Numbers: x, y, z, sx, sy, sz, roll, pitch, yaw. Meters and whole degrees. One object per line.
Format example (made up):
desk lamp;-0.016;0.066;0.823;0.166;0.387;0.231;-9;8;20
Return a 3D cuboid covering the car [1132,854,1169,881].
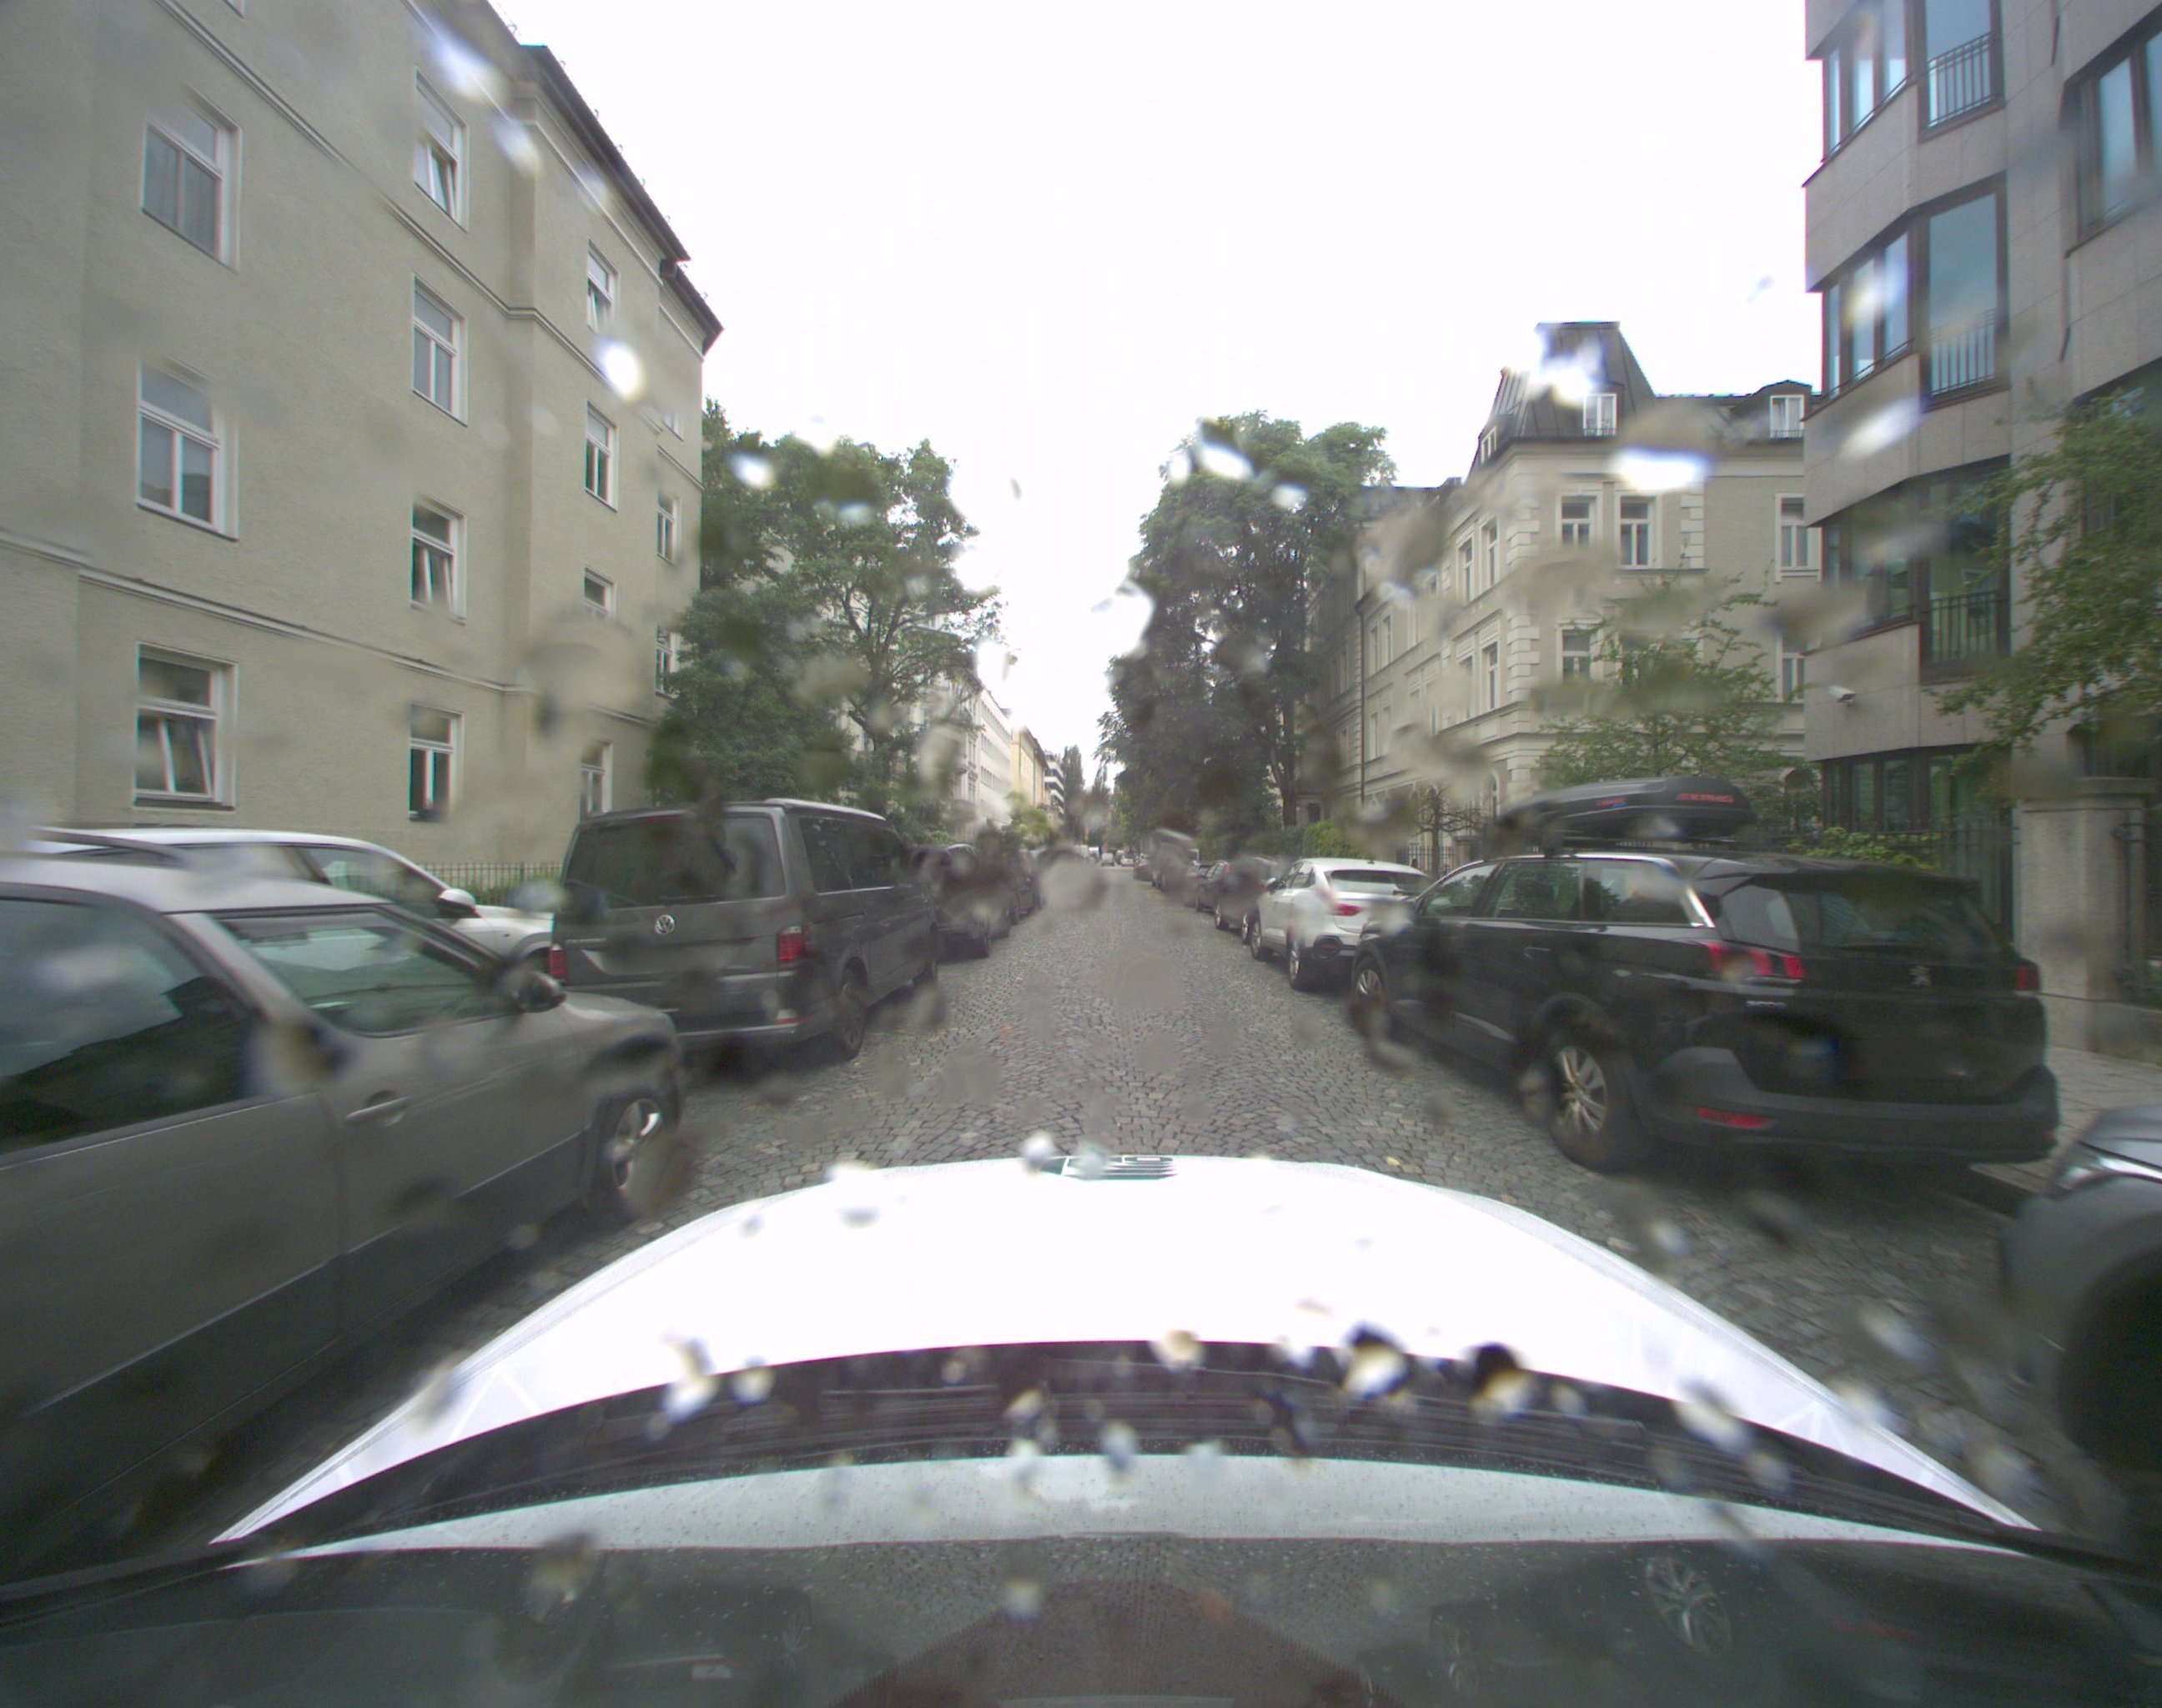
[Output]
car;4.254;0.804;50.607;1.867;1.503;4.510;3;0;0

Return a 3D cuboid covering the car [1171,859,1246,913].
car;3.943;0.937;25.786;1.707;1.472;4.269;3;0;1

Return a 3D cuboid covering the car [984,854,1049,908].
car;-1.843;0.760;24.360;1.657;1.444;4.169;-1;0;-1

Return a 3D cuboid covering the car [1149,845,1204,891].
car;4.402;0.629;38.367;1.867;1.928;5.163;3;0;0

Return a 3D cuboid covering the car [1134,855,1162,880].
car;5.082;0.988;62.314;1.866;1.733;4.595;3;0;2

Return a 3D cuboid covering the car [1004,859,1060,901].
car;-1.817;0.948;31.549;1.777;1.417;4.497;-3;0;1

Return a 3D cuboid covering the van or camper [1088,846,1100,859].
van or camper;2.833;-0.278;175.775;2.247;2.742;5.100;1;0;2

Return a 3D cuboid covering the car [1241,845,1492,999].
car;3.368;0.687;10.628;1.865;1.490;4.621;3;0;4

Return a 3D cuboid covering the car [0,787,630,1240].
car;-5.041;0.570;4.857;1.938;1.735;4.658;3;0;1

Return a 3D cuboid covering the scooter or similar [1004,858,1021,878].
scooter or similar;-5.128;1.018;60.927;0.937;1.442;2.657;0;0;2

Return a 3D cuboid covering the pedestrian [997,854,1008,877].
pedestrian;-5.943;0.878;61.464;0.715;1.687;0.695;0;-1;1

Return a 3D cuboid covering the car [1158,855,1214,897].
car;4.182;0.844;32.893;1.829;1.490;4.424;3;0;3

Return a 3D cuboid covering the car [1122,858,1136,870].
car;6.570;1.386;112.190;1.783;1.520;4.002;0;0;2

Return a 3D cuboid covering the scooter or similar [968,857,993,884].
scooter or similar;-5.418;0.873;44.211;0.938;1.441;2.656;2;0;1

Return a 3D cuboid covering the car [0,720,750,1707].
car;-2.817;0.667;2.409;1.860;1.735;4.402;-2;0;-1

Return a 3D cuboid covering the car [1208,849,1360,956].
car;3.712;0.812;15.787;1.866;1.670;4.659;3;0;2

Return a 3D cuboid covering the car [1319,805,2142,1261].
car;3.343;0.740;5.677;1.867;1.735;4.746;4;0;0

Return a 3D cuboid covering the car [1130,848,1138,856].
car;14.043;-0.410;214.991;1.986;2.014;4.002;1;-1;2

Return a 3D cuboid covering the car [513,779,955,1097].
car;-2.534;0.535;7.480;1.866;1.917;4.828;-2;0;1

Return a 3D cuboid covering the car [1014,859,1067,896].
car;-1.719;0.995;36.293;1.879;1.417;4.409;-3;0;3

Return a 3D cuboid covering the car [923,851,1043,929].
car;-2.148;0.752;19.325;1.970;1.561;5.021;-1;0;3

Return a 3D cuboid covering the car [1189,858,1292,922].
car;4.065;0.873;21.394;1.690;1.440;4.058;3;0;-2

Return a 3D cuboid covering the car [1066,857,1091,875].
car;-0.209;1.138;76.254;1.864;1.580;4.214;2;0;5

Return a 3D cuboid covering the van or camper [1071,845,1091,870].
van or camper;0.063;0.346;91.218;1.986;2.652;4.002;-2;-1;2

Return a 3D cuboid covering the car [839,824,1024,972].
car;-2.221;0.618;13.698;1.986;1.917;5.178;-3;0;1

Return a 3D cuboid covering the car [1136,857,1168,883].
car;4.828;1.062;55.809;1.811;1.580;4.209;4;0;1

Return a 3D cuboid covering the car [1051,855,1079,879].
car;-1.084;0.934;58.497;1.867;1.580;4.254;-2;0;0

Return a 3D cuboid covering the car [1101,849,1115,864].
car;3.930;0.369;116.972;1.986;2.014;4.002;0;0;2

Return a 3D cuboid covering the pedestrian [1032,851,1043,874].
pedestrian;-3.668;0.725;68.851;0.789;1.917;0.759;1;-1;1

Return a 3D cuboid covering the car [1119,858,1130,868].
car;7.089;1.486;132.753;1.783;1.520;4.002;0;0;2

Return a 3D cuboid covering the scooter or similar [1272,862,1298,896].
scooter or similar;7.762;0.929;31.036;0.414;1.234;1.242;-3;0;-10

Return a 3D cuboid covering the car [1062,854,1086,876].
car;-0.590;0.949;70.855;1.867;1.776;4.123;-3;0;1

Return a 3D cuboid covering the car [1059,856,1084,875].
car;-0.757;0.906;64.548;1.867;1.451;4.207;-1;0;0
